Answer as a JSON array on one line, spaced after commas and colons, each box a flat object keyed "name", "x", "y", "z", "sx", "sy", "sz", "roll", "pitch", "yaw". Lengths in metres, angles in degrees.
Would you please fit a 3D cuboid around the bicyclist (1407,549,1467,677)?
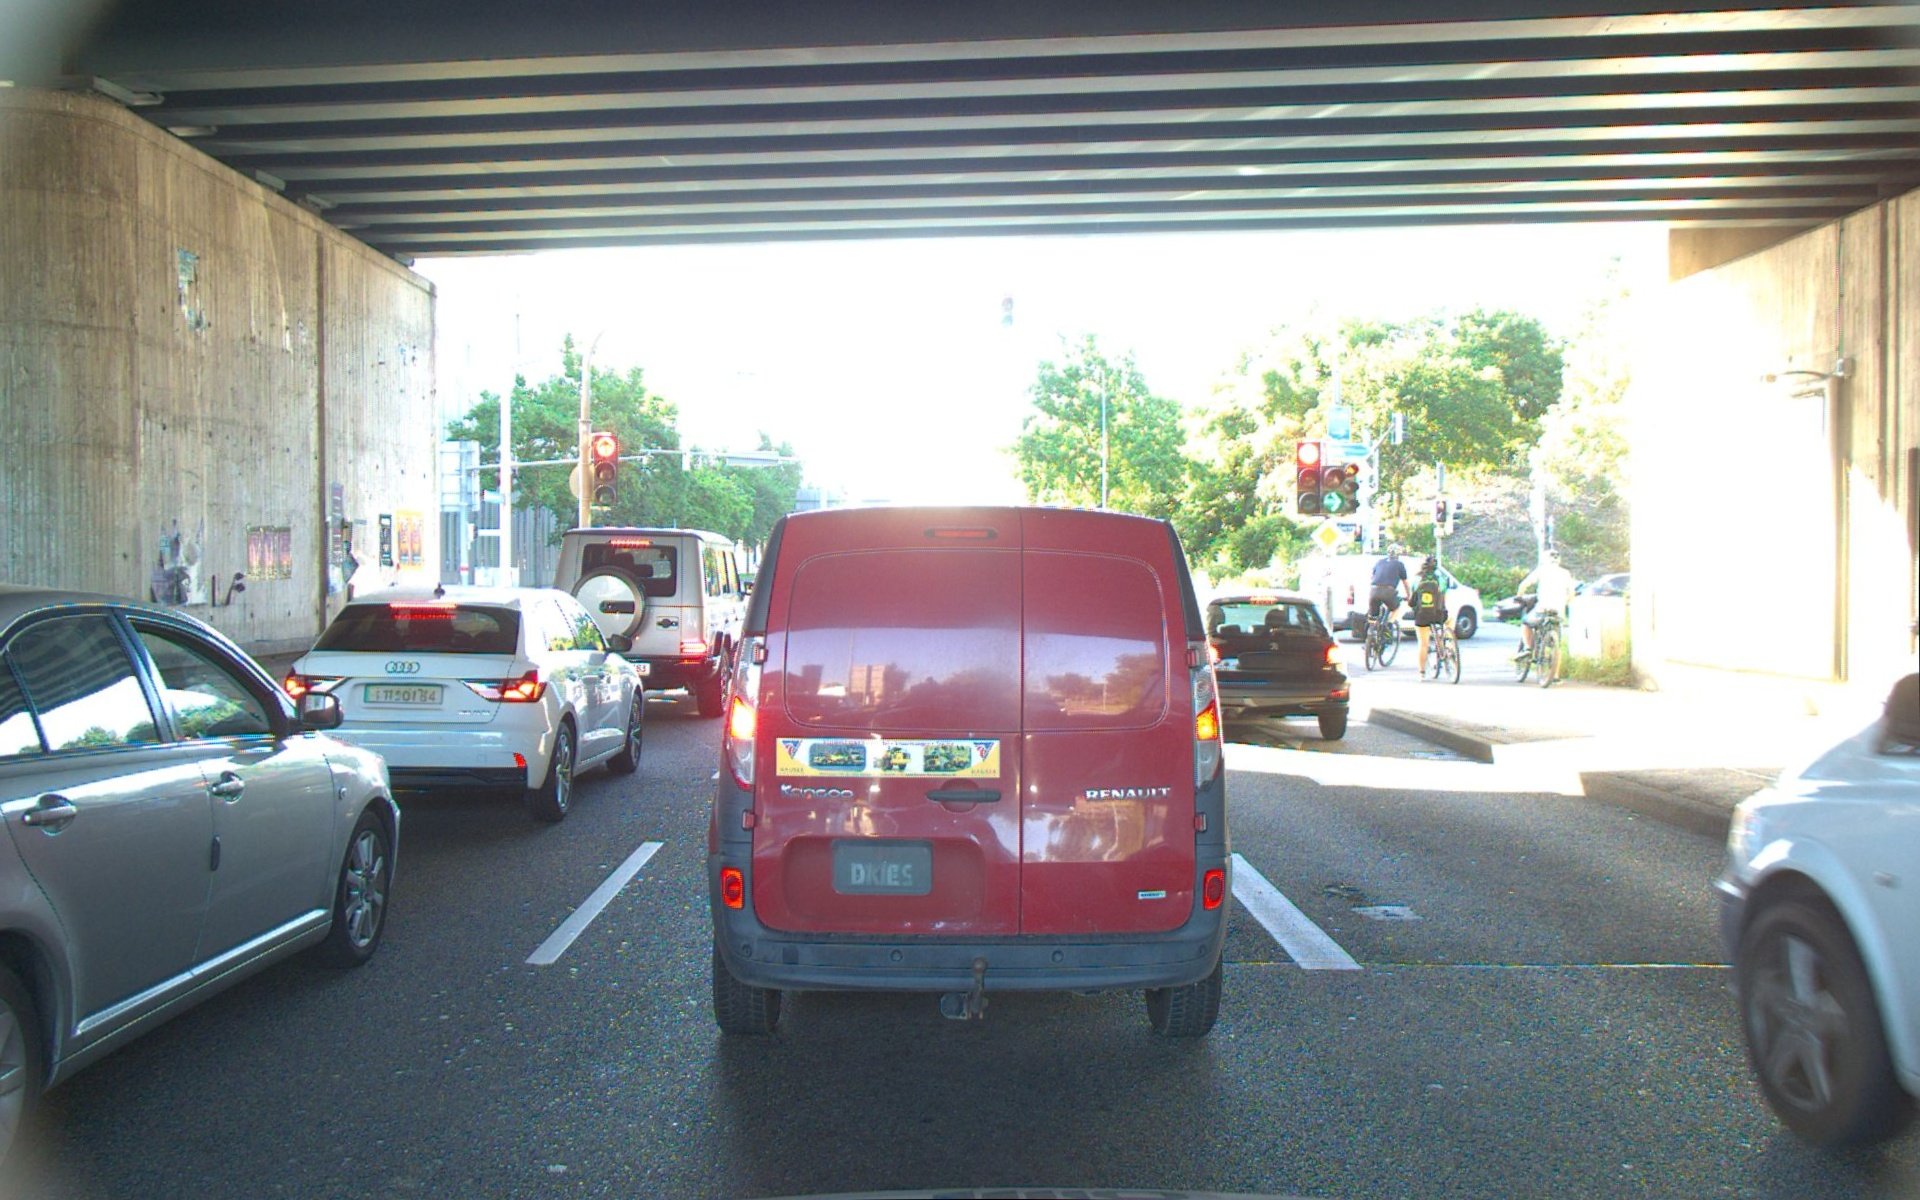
[{"name": "bicyclist", "x": 6.274, "y": 0.168, "z": 21.782, "sx": 0.663, "sy": 1.657, "sz": 0.644, "roll": 1, "pitch": 0, "yaw": 10}]

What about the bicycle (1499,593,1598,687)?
[{"name": "bicycle", "x": 7.371, "y": 0.487, "z": 20.774, "sx": 0.667, "sy": 1.132, "sz": 1.604, "roll": 0, "pitch": 0, "yaw": 0}]

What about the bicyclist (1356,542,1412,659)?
[{"name": "bicyclist", "x": 6.295, "y": 0.011, "z": 24.539, "sx": 0.731, "sy": 1.684, "sz": 0.887, "roll": 1, "pitch": 0, "yaw": 17}]

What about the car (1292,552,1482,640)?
[{"name": "car", "x": 9.577, "y": -0.132, "z": 37.011, "sx": 4.249, "sy": 1.865, "sz": 1.798, "roll": -1, "pitch": 2, "yaw": -35}]

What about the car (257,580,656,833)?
[{"name": "car", "x": -3.241, "y": 0.603, "z": 11.414, "sx": 1.658, "sy": 1.435, "sz": 3.812, "roll": 1, "pitch": 0, "yaw": -2}]

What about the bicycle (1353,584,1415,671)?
[{"name": "bicycle", "x": 6.289, "y": 0.376, "z": 24.446, "sx": 0.749, "sy": 1.166, "sz": 2.471, "roll": -2, "pitch": 1, "yaw": 17}]

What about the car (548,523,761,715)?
[{"name": "car", "x": -3.348, "y": 0.181, "z": 18.784, "sx": 1.777, "sy": 1.937, "sz": 3.812, "roll": 1, "pitch": 0, "yaw": -2}]

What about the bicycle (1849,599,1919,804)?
[{"name": "bicycle", "x": 6.035, "y": 0.617, "z": 9.672, "sx": 0.638, "sy": 1.187, "sz": 1.778, "roll": -2, "pitch": 1, "yaw": -2}]

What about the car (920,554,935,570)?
[{"name": "car", "x": -4.268, "y": -5.031, "z": 220.675, "sx": 1.953, "sy": 2.049, "sz": 3.999, "roll": 1, "pitch": 0, "yaw": -1}]

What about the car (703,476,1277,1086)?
[{"name": "car", "x": 0.065, "y": 0.530, "z": 6.924, "sx": 1.684, "sy": 1.795, "sz": 3.999, "roll": 1, "pitch": 0, "yaw": -1}]

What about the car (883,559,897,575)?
[{"name": "car", "x": -9.097, "y": -4.289, "z": 216.137, "sx": 1.712, "sy": 2.049, "sz": 3.843, "roll": 1, "pitch": 0, "yaw": -1}]

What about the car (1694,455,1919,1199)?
[{"name": "car", "x": 3.393, "y": 0.593, "z": 2.925, "sx": 1.859, "sy": 1.868, "sz": 4.833, "roll": 1, "pitch": 0, "yaw": -3}]

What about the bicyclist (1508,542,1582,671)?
[{"name": "bicyclist", "x": 7.373, "y": 0.081, "z": 20.872, "sx": 0.656, "sy": 1.589, "sz": 0.735, "roll": 0, "pitch": 0, "yaw": -1}]

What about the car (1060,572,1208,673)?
[{"name": "car", "x": 2.716, "y": 0.319, "z": 26.810, "sx": 1.711, "sy": 1.481, "sz": 4.662, "roll": 1, "pitch": 0, "yaw": -3}]

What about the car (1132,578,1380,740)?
[{"name": "car", "x": 2.948, "y": 0.541, "z": 17.220, "sx": 1.711, "sy": 1.481, "sz": 3.714, "roll": 1, "pitch": 0, "yaw": -3}]

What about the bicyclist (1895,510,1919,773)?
[{"name": "bicyclist", "x": 6.016, "y": 0.236, "z": 9.588, "sx": 0.639, "sy": 1.560, "sz": 0.846, "roll": -2, "pitch": 0, "yaw": -2}]

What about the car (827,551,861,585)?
[{"name": "car", "x": -7.508, "y": -2.052, "z": 107.377, "sx": 1.953, "sy": 2.049, "sz": 3.999, "roll": 1, "pitch": 0, "yaw": -1}]

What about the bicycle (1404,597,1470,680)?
[{"name": "bicycle", "x": 6.272, "y": 0.493, "z": 21.798, "sx": 0.662, "sy": 1.042, "sz": 1.530, "roll": 1, "pitch": 0, "yaw": 10}]

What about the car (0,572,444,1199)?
[{"name": "car", "x": -2.997, "y": 0.655, "z": 4.865, "sx": 1.662, "sy": 1.480, "sz": 4.397, "roll": 1, "pitch": 0, "yaw": -2}]
